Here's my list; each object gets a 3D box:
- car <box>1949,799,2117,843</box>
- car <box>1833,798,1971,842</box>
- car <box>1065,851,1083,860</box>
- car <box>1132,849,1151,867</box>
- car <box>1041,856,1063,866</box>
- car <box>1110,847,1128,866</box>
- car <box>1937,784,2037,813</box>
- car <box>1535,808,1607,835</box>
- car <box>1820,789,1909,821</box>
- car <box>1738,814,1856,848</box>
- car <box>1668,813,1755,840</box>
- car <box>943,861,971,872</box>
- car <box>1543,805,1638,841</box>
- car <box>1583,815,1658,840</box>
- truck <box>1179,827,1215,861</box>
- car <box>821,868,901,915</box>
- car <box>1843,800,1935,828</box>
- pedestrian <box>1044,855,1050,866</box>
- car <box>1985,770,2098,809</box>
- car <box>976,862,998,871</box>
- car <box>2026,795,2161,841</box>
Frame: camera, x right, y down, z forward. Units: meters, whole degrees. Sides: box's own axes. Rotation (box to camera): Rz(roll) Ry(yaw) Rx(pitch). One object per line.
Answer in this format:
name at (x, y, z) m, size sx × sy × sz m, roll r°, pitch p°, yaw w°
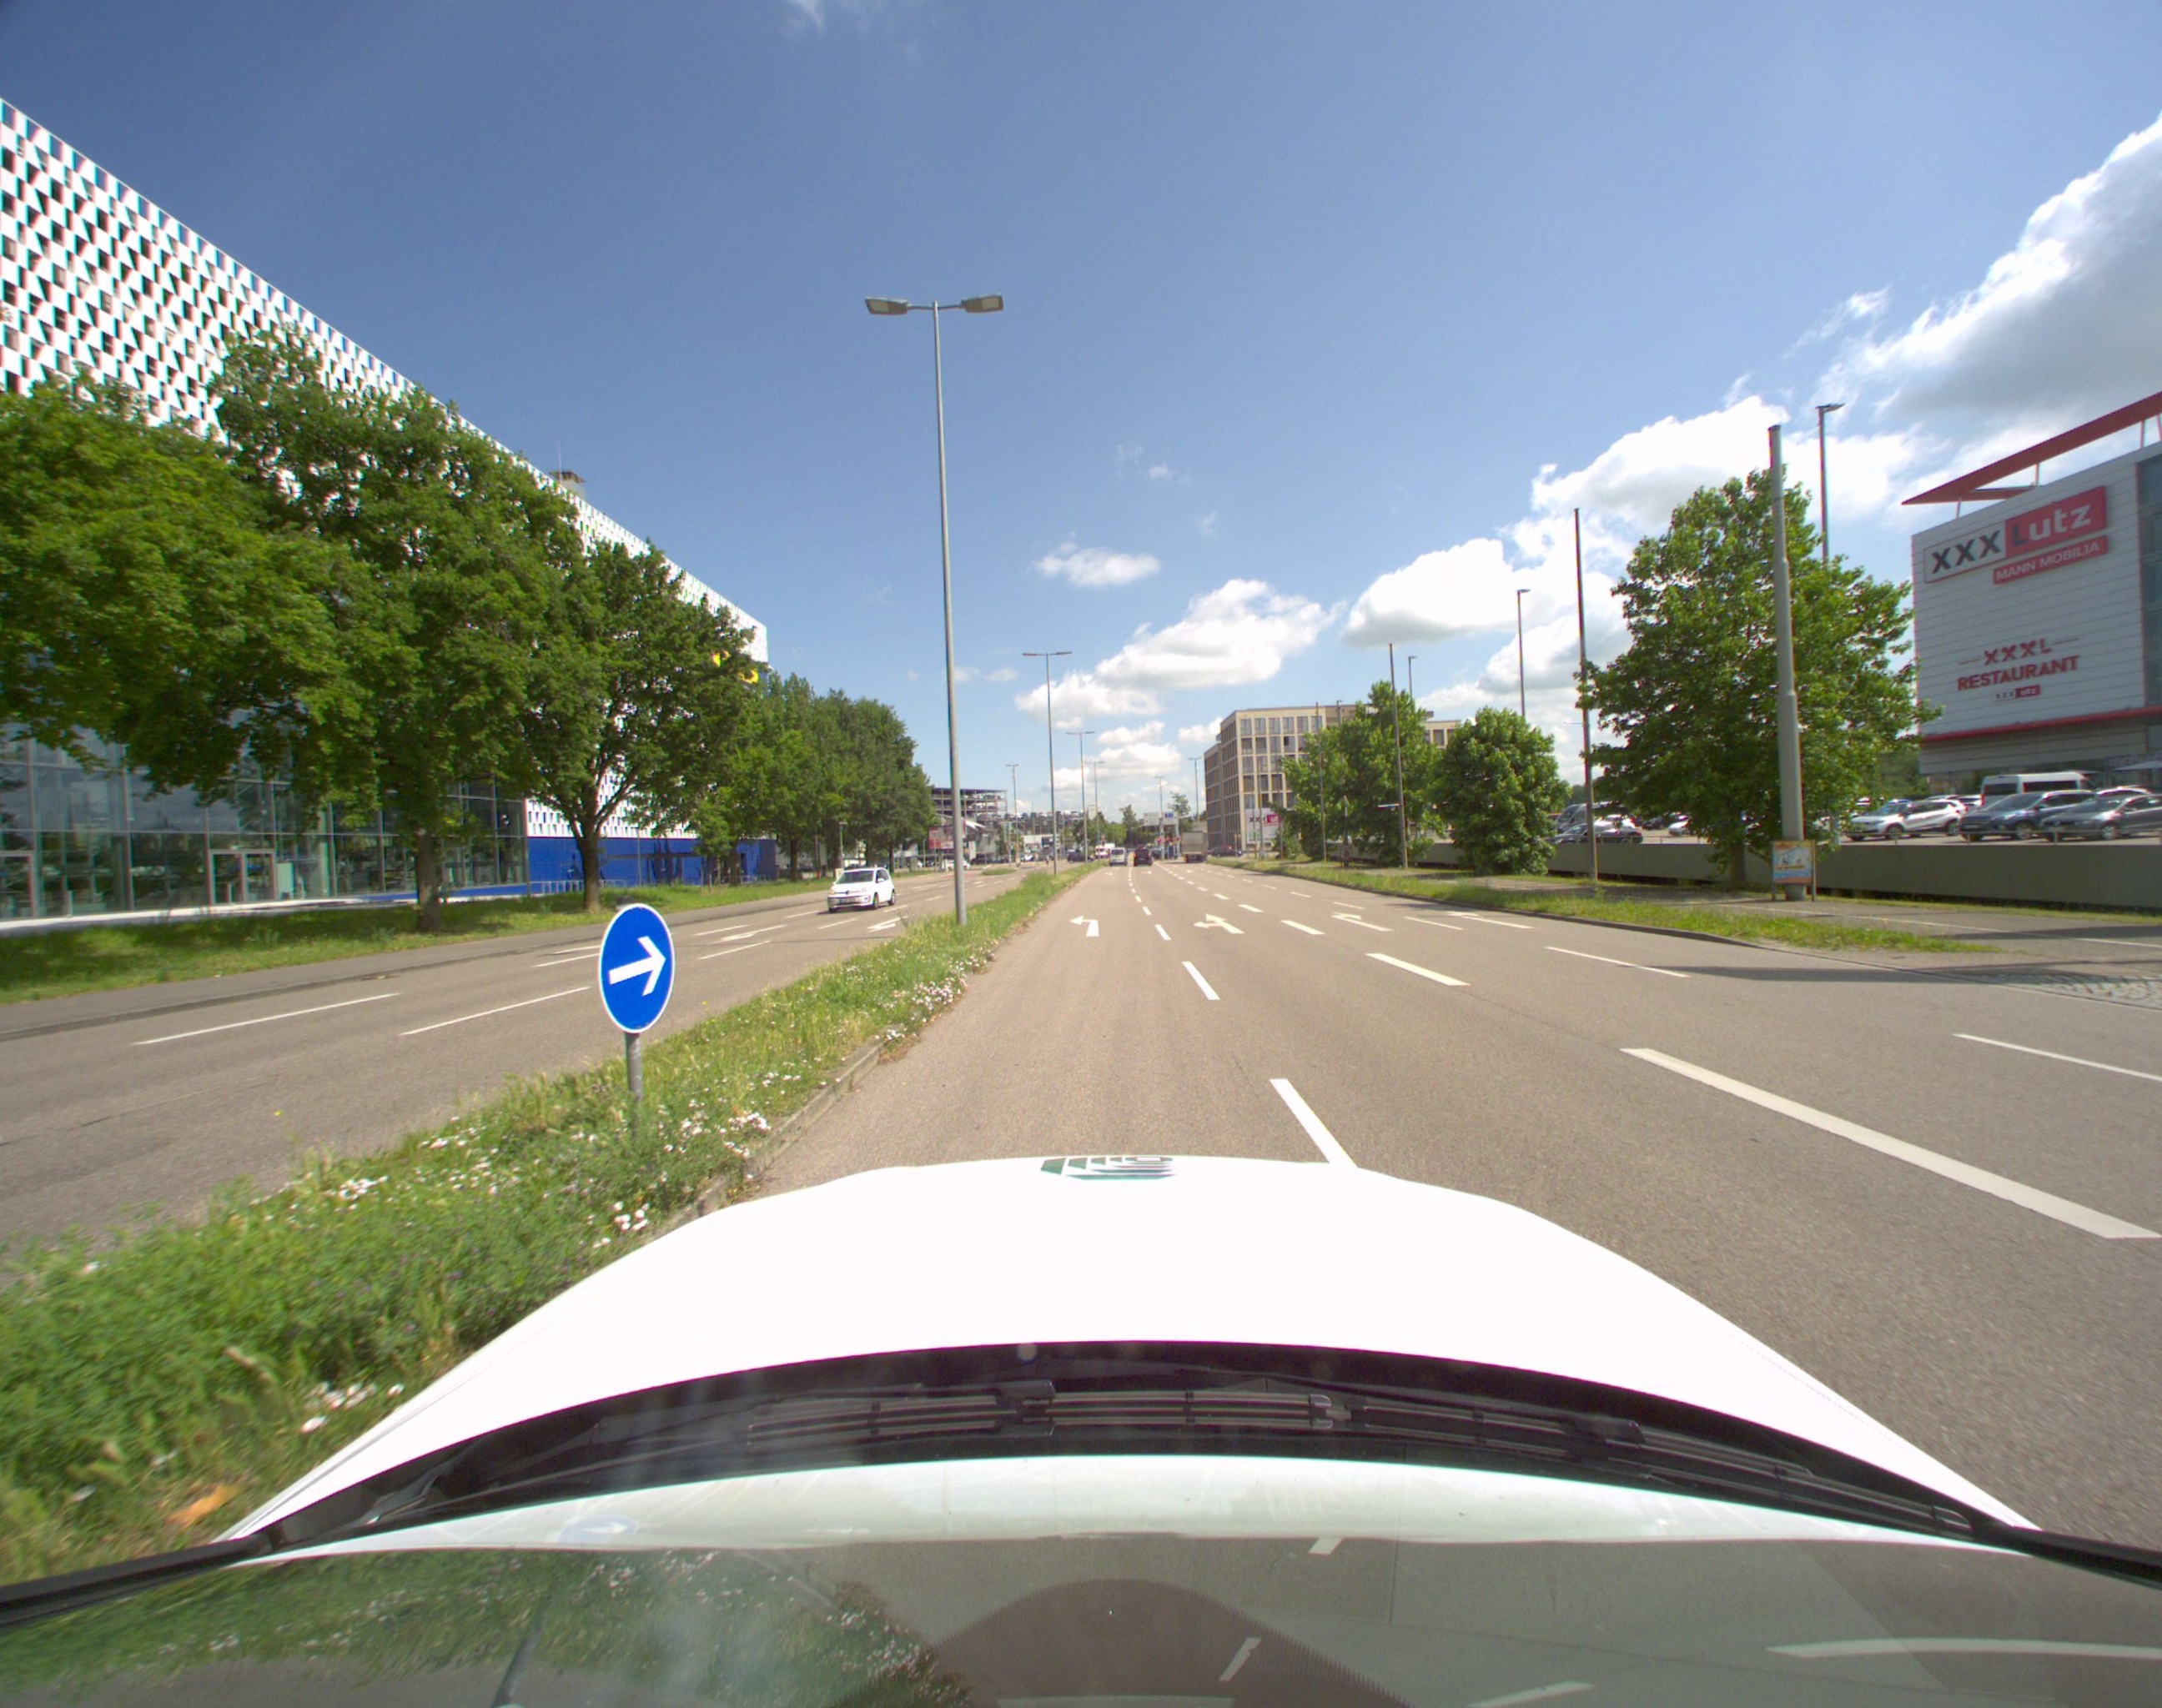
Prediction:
car at (35.166, -1.201, 30.155) m, size 4.168 × 1.325 × 1.688 m, roll -4°, pitch 0°, yaw 1°
car at (35.475, -1.447, 35.273) m, size 3.975 × 1.571 × 1.999 m, roll -3°, pitch -1°, yaw -1°
car at (-1.525, 0.359, 180.747) m, size 3.978 × 1.926 × 1.825 m, roll -2°, pitch 0°, yaw -3°
car at (6.355, 0.369, 85.200) m, size 1.810 × 1.809 × 4.008 m, roll -1°, pitch 0°, yaw 7°
car at (-5.322, 1.272, 149.313) m, size 3.849 × 1.639 × 1.858 m, roll -4°, pitch 1°, yaw 0°
car at (4.187, 0.287, 90.042) m, size 1.849 × 2.018 × 4.002 m, roll -1°, pitch 1°, yaw 2°
car at (54.634, -3.323, 49.162) m, size 3.781 × 1.434 × 1.911 m, roll -2°, pitch 0°, yaw 1°
car at (43.150, -2.872, 71.744) m, size 5.142 × 2.195 × 1.987 m, roll -1°, pitch -1°, yaw 1°
car at (49.773, -3.076, 51.785) m, size 3.868 × 1.837 × 1.776 m, roll -2°, pitch 0°, yaw 3°
car at (35.350, -1.103, 40.266) m, size 4.172 × 1.389 × 1.892 m, roll -4°, pitch 1°, yaw -2°
car at (40.332, -1.725, 52.162) m, size 4.169 × 1.434 × 1.726 m, roll -4°, pitch 0°, yaw 0°
car at (-18.005, 1.769, 118.505) m, size 3.839 × 1.466 × 1.695 m, roll -2°, pitch 1°, yaw -1°
car at (37.257, -2.284, 59.693) m, size 5.641 × 2.366 × 2.061 m, roll -2°, pitch -1°, yaw -1°
car at (36.923, -1.802, 55.773) m, size 3.974 × 1.514 × 1.747 m, roll -2°, pitch 0°, yaw -1°
truck at (14.229, -1.253, 99.332) m, size 3.107 × 3.940 × 8.894 m, roll -2°, pitch 1°, yaw 15°
car at (-7.798, 1.273, 29.159) m, size 1.637 × 1.429 × 3.672 m, roll -4°, pitch 0°, yaw 2°
car at (48.884, -2.380, 49.313) m, size 3.781 × 1.516 × 1.744 m, roll -2°, pitch 1°, yaw 1°
pedestrian at (-4.634, 0.907, 111.113) m, size 0.464 × 1.512 × 0.515 m, roll -2°, pitch -1°, yaw 28°
car at (54.425, -3.610, 46.194) m, size 3.972 × 1.951 × 2.001 m, roll -2°, pitch 0°, yaw 1°
car at (-16.631, 2.190, 144.057) m, size 3.782 × 1.513 × 1.678 m, roll -2°, pitch 1°, yaw -2°
car at (35.113, -1.235, 27.488) m, size 4.345 × 1.325 × 1.764 m, roll -4°, pitch 1°, yaw 0°
